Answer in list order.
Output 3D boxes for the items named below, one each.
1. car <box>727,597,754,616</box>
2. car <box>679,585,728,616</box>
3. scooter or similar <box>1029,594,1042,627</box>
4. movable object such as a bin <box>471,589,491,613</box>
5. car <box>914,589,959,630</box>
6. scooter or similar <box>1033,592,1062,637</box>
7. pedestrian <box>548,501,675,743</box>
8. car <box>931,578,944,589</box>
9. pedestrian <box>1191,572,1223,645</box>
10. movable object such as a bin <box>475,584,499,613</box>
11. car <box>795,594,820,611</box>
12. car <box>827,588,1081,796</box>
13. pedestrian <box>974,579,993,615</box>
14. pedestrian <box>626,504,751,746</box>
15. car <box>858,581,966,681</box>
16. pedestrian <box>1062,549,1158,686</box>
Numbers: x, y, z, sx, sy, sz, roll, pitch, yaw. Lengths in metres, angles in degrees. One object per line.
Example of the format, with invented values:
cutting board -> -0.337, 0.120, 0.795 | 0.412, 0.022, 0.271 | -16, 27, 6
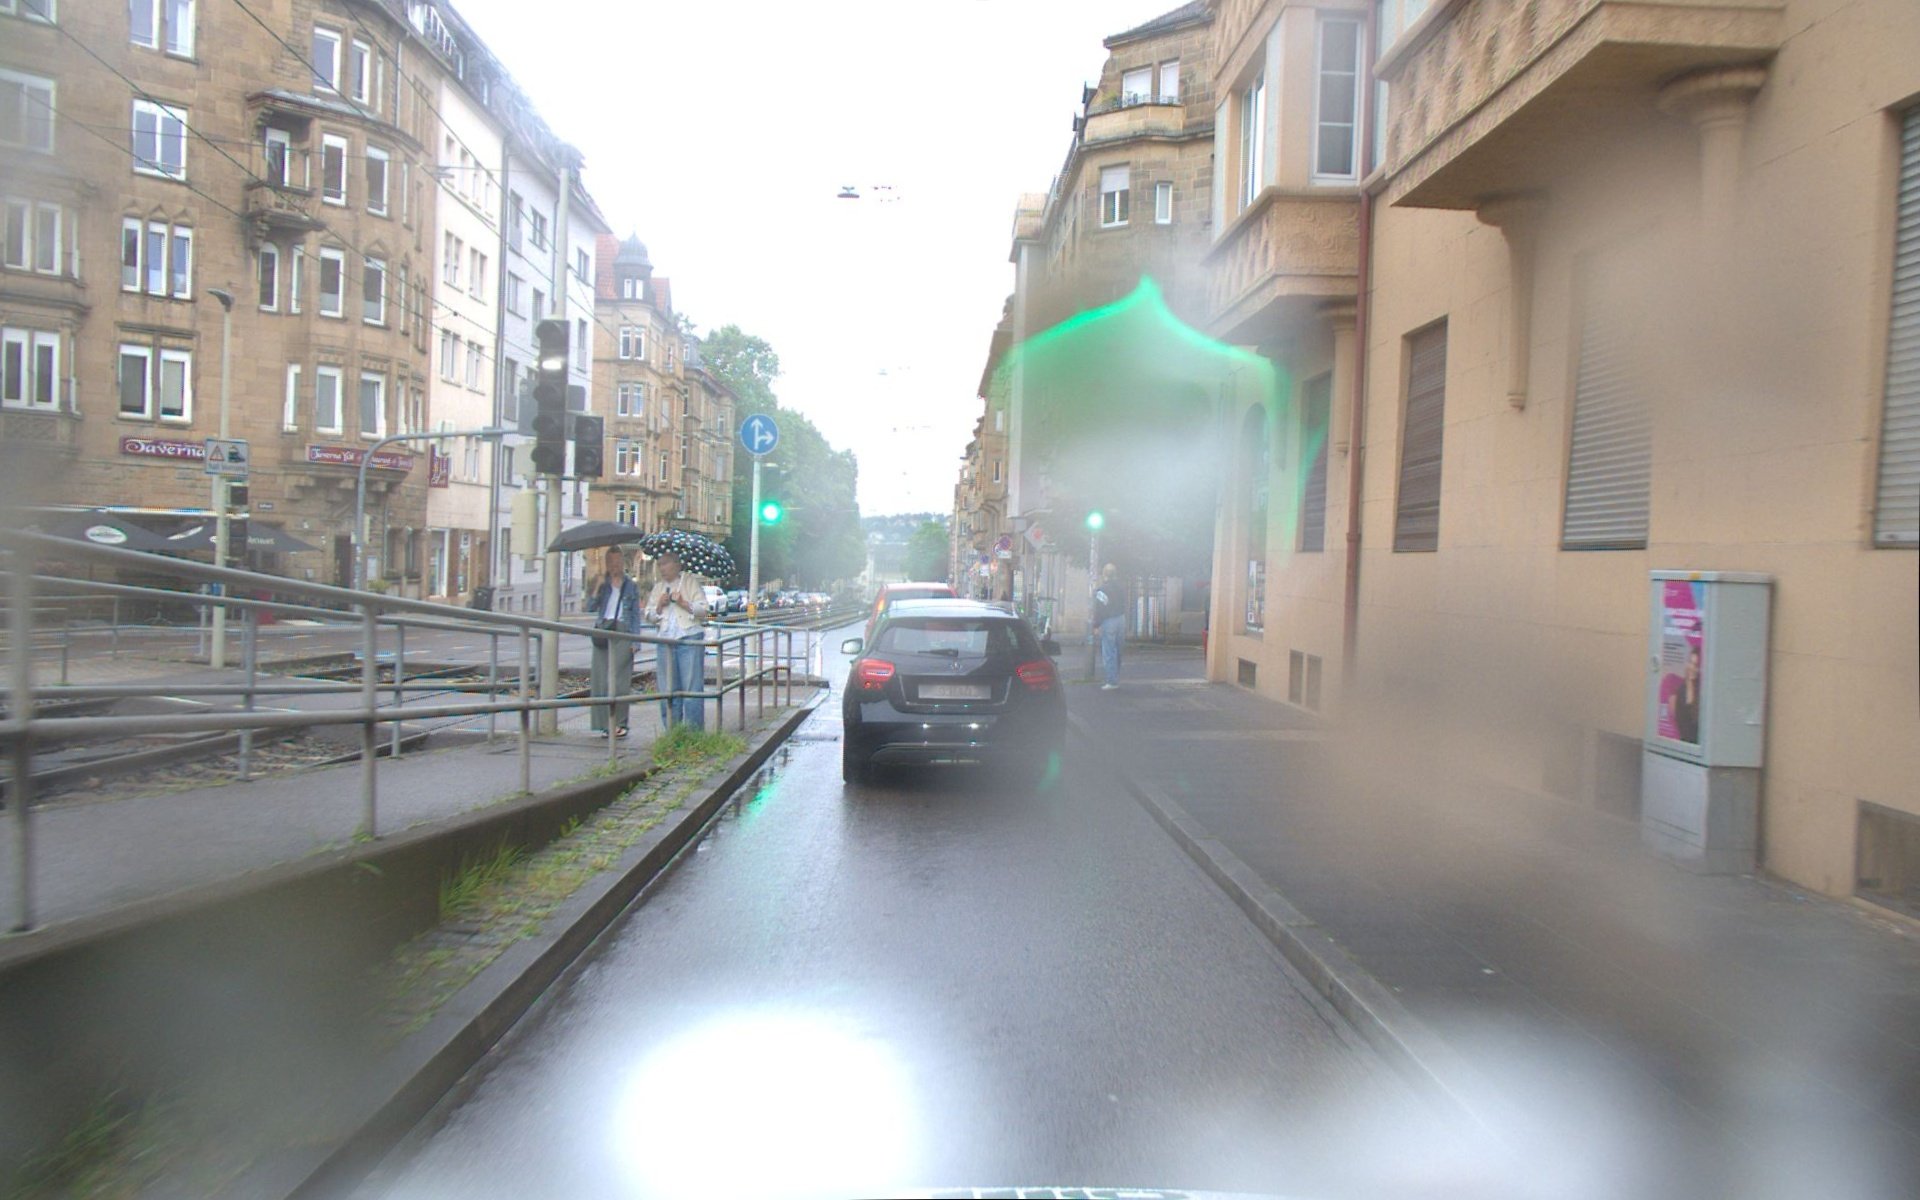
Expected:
car -> -16.650, 0.475, 125.338 | 1.537, 1.438, 3.481 | 0, 0, 1
car -> -14.092, 0.041, 91.210 | 1.953, 1.656, 5.251 | 0, -1, -1
scooter or similar -> 2.838, 0.385, 62.008 | 0.387, 1.237, 1.106 | 1, 0, -3
movable object such as a bin -> -18.910, 0.040, 65.265 | 0.582, 0.927, 0.560 | 4, 0, -2
car -> -0.951, 0.357, 66.968 | 1.729, 1.586, 4.744 | 0, 0, -1
scooter or similar -> 2.457, 0.395, 46.560 | 0.625, 1.231, 1.551 | 0, 0, -5
pedestrian -> -3.081, 0.189, 14.697 | 0.879, 2.049, 0.947 | 2, 0, -1
car -> -2.984, -2.170, 218.743 | 1.581, 1.340, 3.999 | 2, 0, -1
pedestrian -> 6.224, 0.208, 41.682 | 0.582, 1.820, 0.890 | -1, 0, -5
movable object such as a bin -> -18.868, -0.053, 65.953 | 0.698, 1.092, 0.687 | 4, 0, -2
car -> -13.795, 0.218, 149.478 | 1.908, 1.421, 4.273 | -1, 0, -1
car -> -0.018, 0.666, 14.114 | 1.828, 1.477, 4.000 | 1, 0, 1
pedestrian -> 1.187, -0.151, 83.753 | 0.926, 1.800, 1.014 | 1, 0, -3
pedestrian -> -2.389, 0.215, 14.670 | 0.907, 2.049, 0.947 | 2, 0, -1
car -> -0.847, 0.463, 27.284 | 1.617, 1.477, 3.997 | 1, 0, -3
pedestrian -> 2.118, 0.242, 23.368 | 0.896, 1.872, 0.952 | -2, 0, -45
